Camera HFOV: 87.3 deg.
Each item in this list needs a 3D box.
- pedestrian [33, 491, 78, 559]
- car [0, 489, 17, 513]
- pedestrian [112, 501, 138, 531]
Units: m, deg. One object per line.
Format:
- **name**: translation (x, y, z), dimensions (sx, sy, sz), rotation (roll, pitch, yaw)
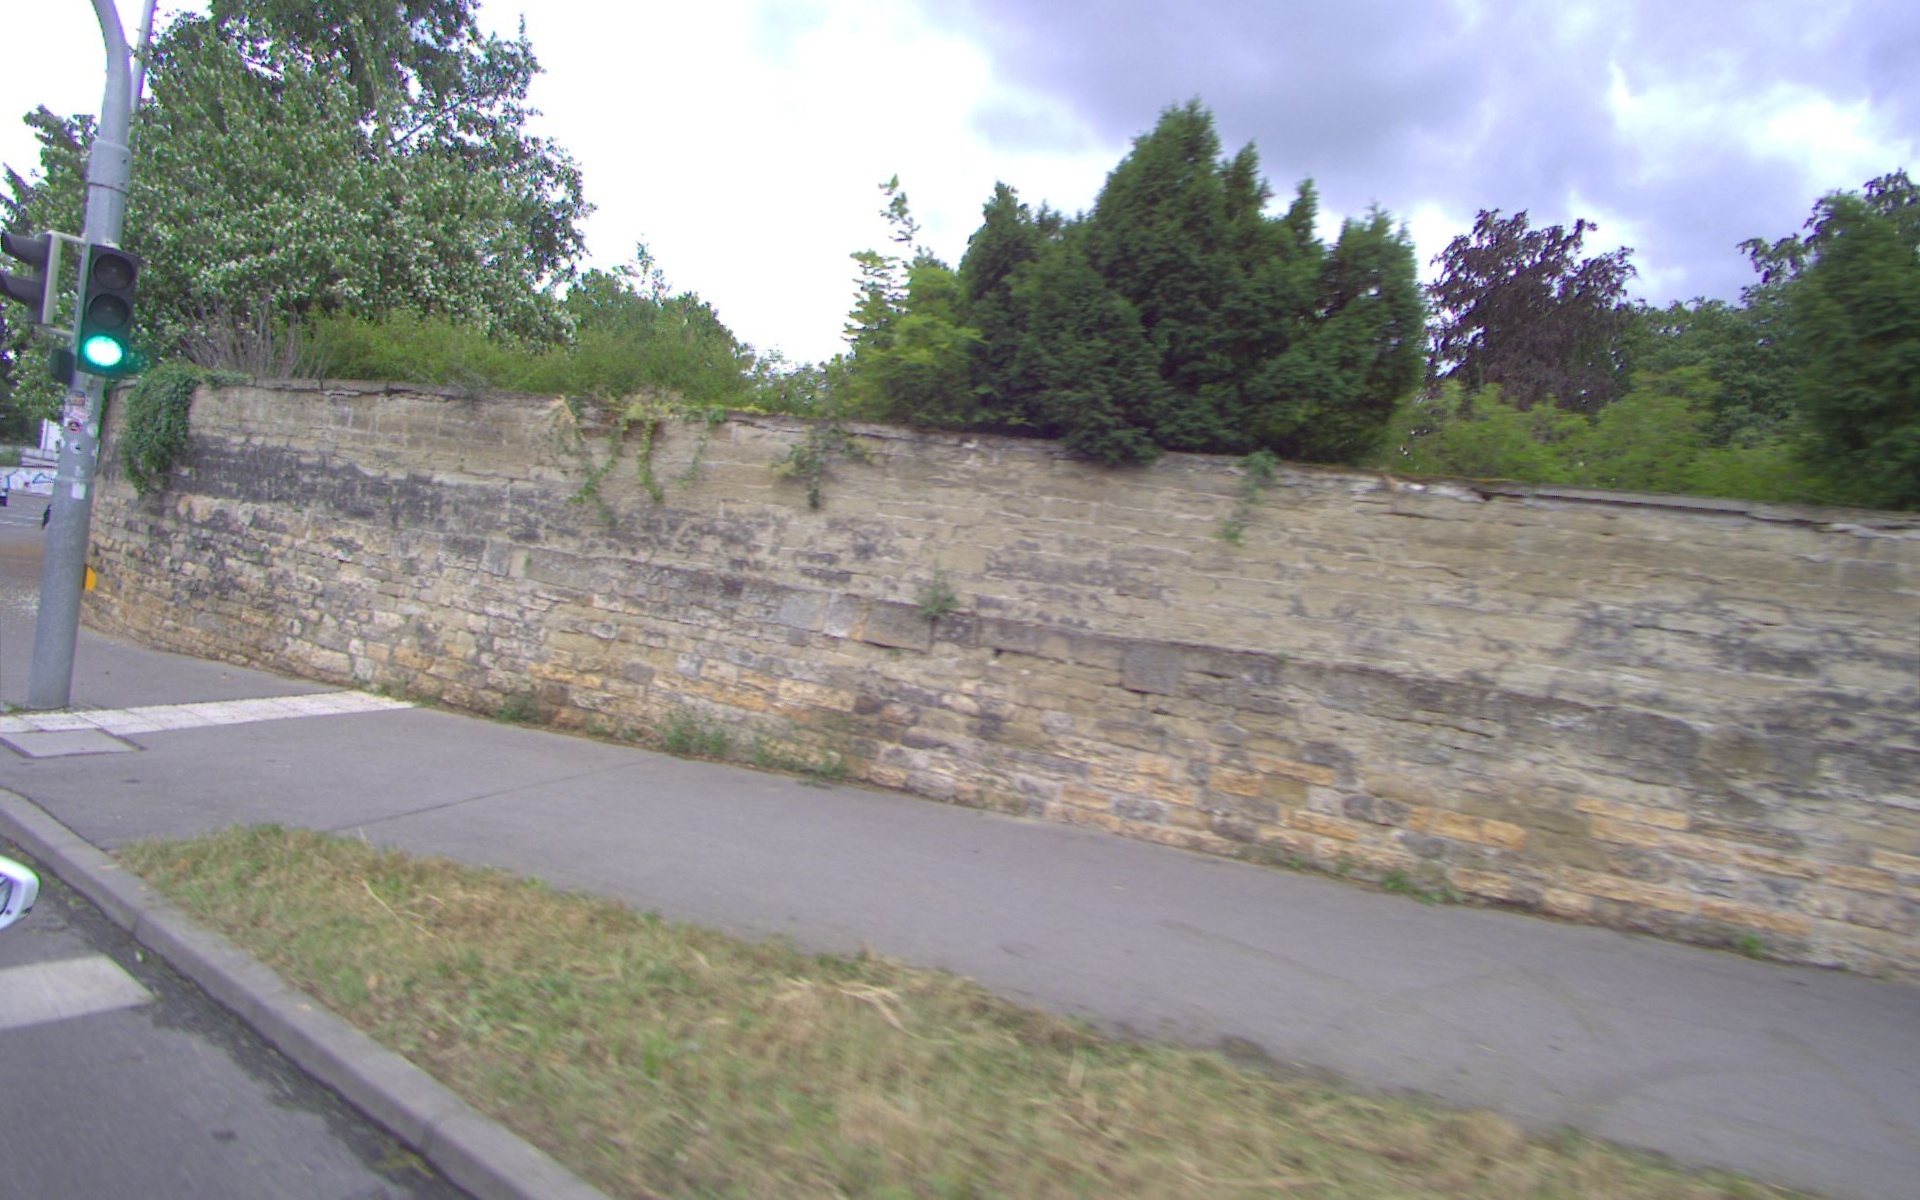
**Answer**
- **pedestrian**: translation (-22.772, -1.882, 25.340), dimensions (0.728, 1.596, 0.735), rotation (5, 2, -41)
- **car**: translation (-77.205, -8.023, 80.581), dimensions (1.885, 1.778, 4.390), rotation (7, -1, -38)
- **pedestrian**: translation (-49.185, -4.930, 59.250), dimensions (0.723, 1.608, 0.773), rotation (7, 2, 3)
